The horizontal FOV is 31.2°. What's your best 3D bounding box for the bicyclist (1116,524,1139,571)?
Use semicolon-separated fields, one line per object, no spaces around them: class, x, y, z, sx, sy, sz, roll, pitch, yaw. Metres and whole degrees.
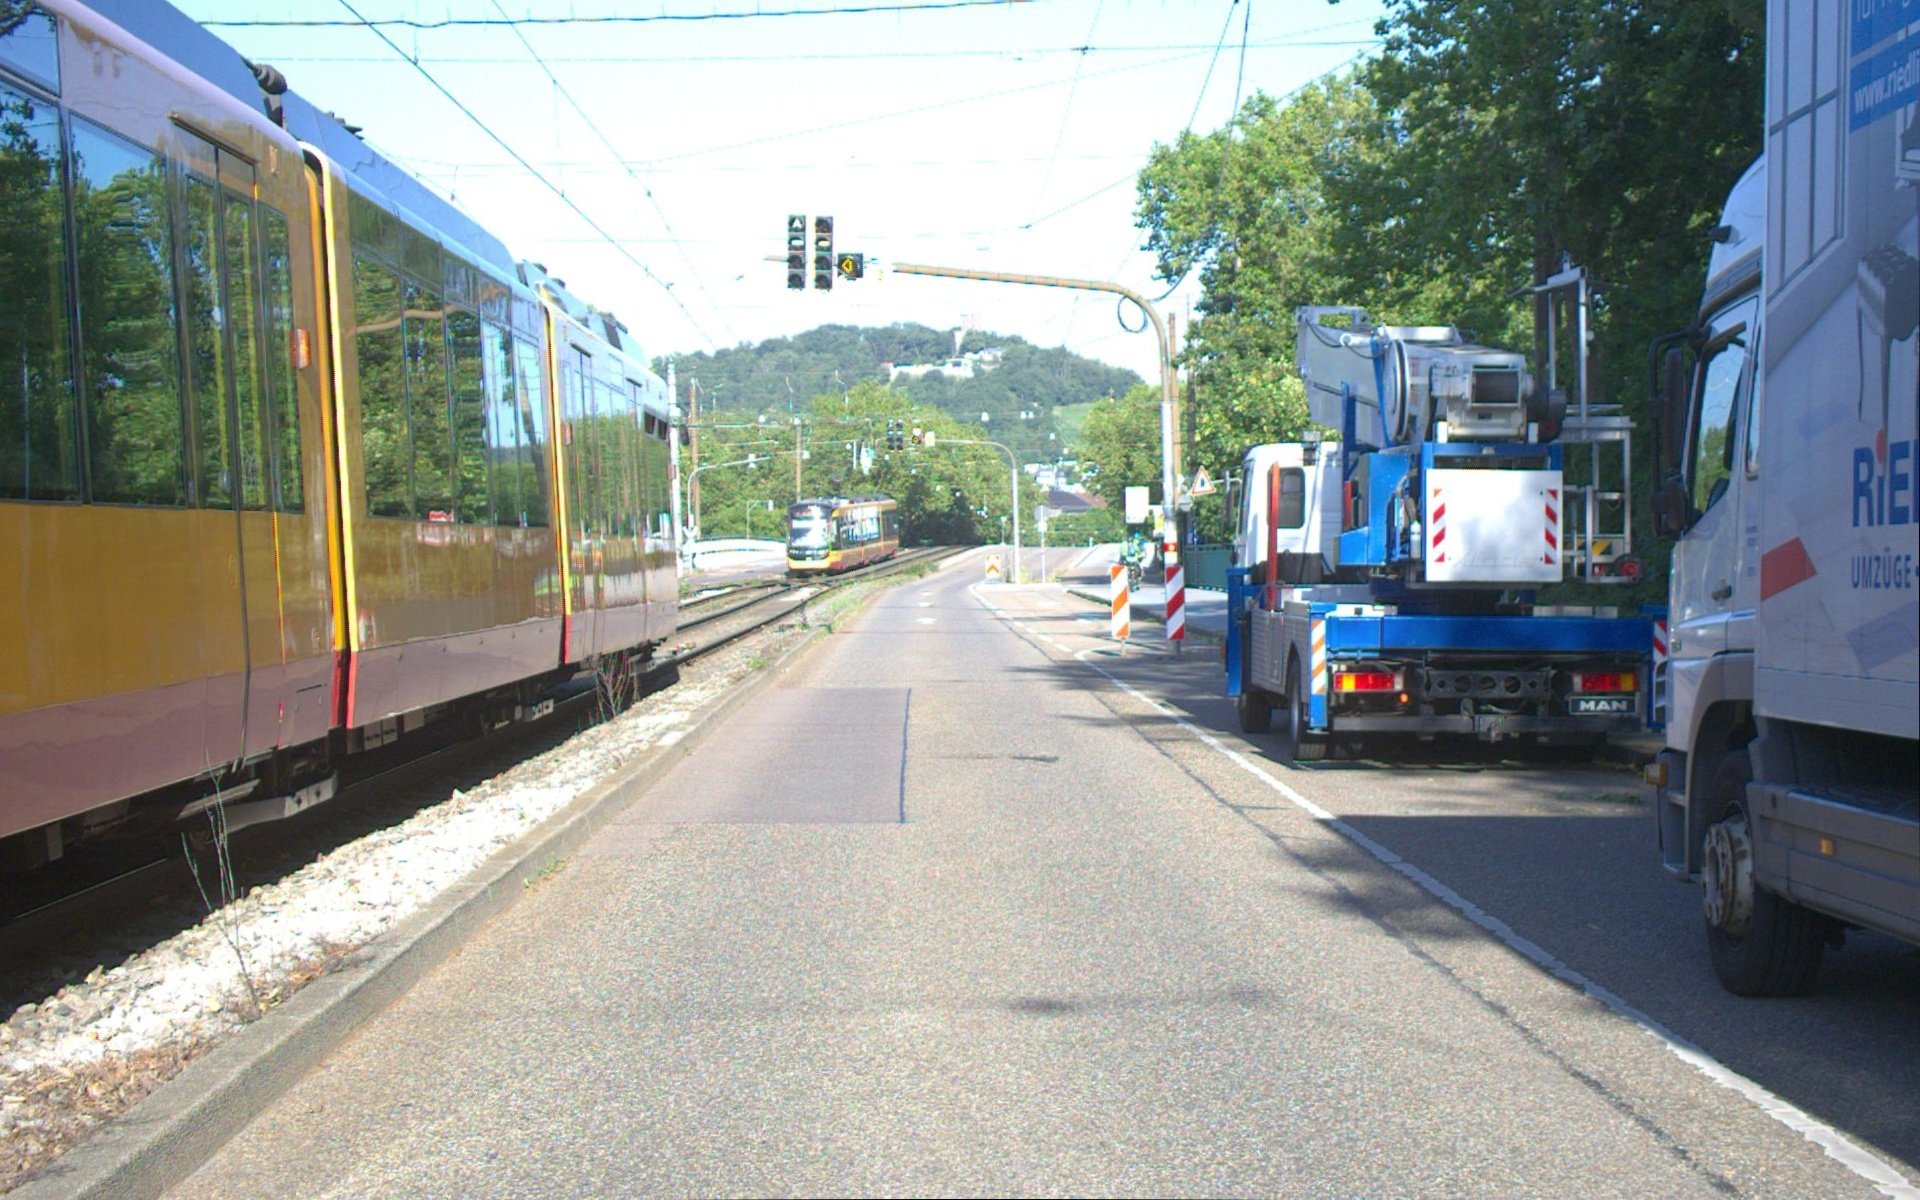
bicyclist;4.966;-1.549;102.001;0.604;1.374;0.975;-1;1;0

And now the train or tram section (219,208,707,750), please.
train or tram section;-4.268;-1.025;32.671;2.719;4.075;12.813;-1;1;0

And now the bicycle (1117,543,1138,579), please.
bicycle;4.972;-1.156;102.015;0.515;1.038;1.975;-1;1;-1

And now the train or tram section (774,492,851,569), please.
train or tram section;-7.101;-3.347;166.988;2.644;3.554;10.831;-1;1;3

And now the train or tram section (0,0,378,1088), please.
train or tram section;-4.183;-0.590;9.601;2.721;4.077;13.616;-1;1;0

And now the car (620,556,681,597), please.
car;-11.392;-0.888;126.841;1.767;1.408;4.912;-1;1;0

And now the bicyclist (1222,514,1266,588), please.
bicyclist;5.911;-1.027;71.547;0.824;1.515;0.975;-1;1;0

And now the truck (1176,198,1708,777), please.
truck;3.483;-0.812;27.513;2.717;3.770;9.762;-1;1;-1

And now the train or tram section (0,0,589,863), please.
train or tram section;-4.217;-0.870;21.337;2.694;4.075;9.911;-1;1;0

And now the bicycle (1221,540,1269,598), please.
bicycle;5.922;-0.647;71.449;0.727;1.172;2.695;-1;1;0

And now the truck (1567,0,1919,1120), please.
truck;3.839;-0.540;8.374;2.742;3.770;10.090;1;1;-1
